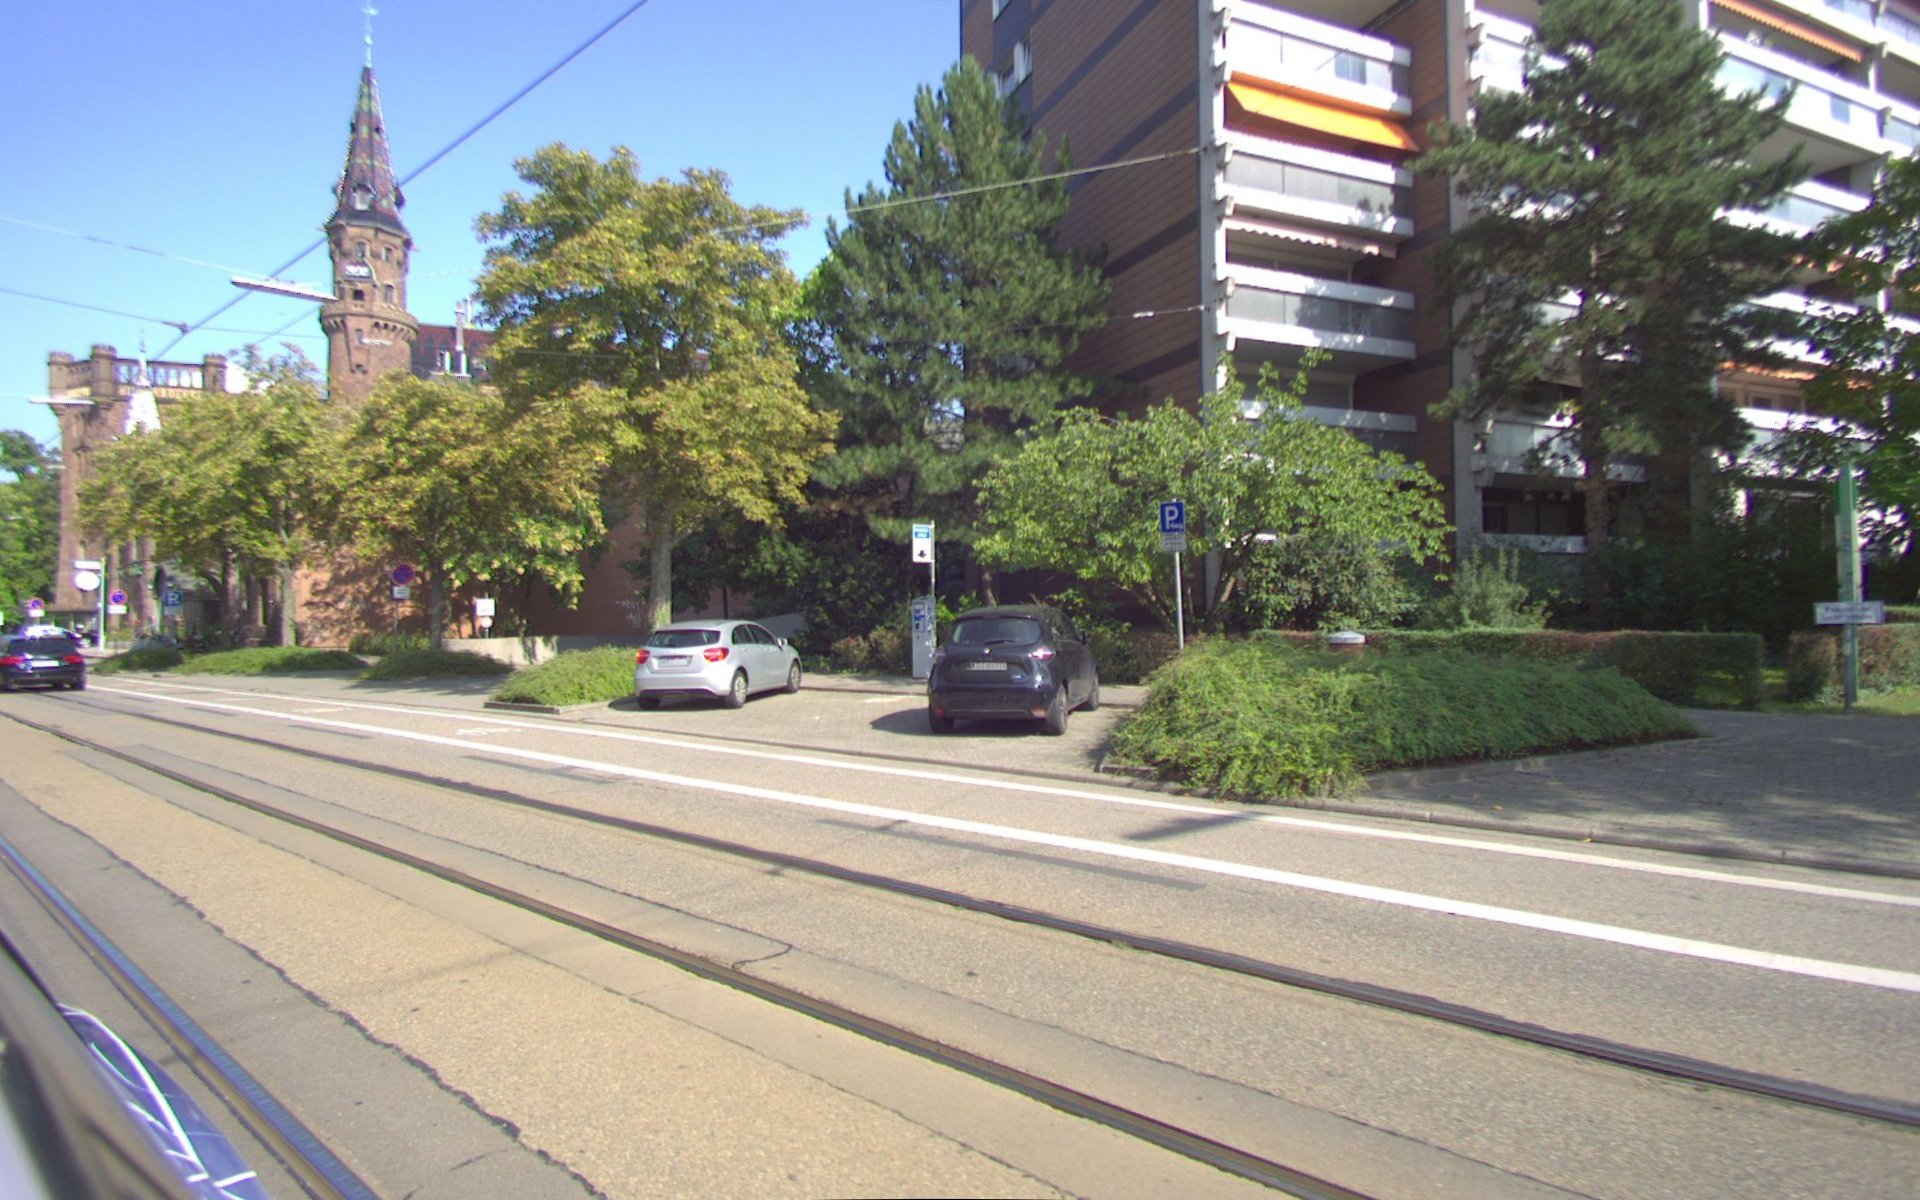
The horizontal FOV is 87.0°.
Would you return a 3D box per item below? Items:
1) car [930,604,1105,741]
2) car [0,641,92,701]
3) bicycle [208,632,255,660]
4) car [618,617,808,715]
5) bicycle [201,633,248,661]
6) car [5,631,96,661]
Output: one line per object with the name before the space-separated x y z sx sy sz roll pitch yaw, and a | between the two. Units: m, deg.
car | 0.900 0.861 13.538 1.606 1.527 3.628 -2 0 15
car | -23.762 1.750 25.751 4.508 1.386 1.810 -2 -3 40
bicycle | -33.260 2.107 46.234 0.418 1.082 1.798 -2 3 18
car | -4.193 1.076 17.859 1.770 1.490 3.986 -2 -1 11
bicycle | -33.695 2.161 46.387 0.418 1.082 1.798 -2 3 18
car | -62.547 3.136 69.653 1.956 1.657 4.352 -2 2 41
